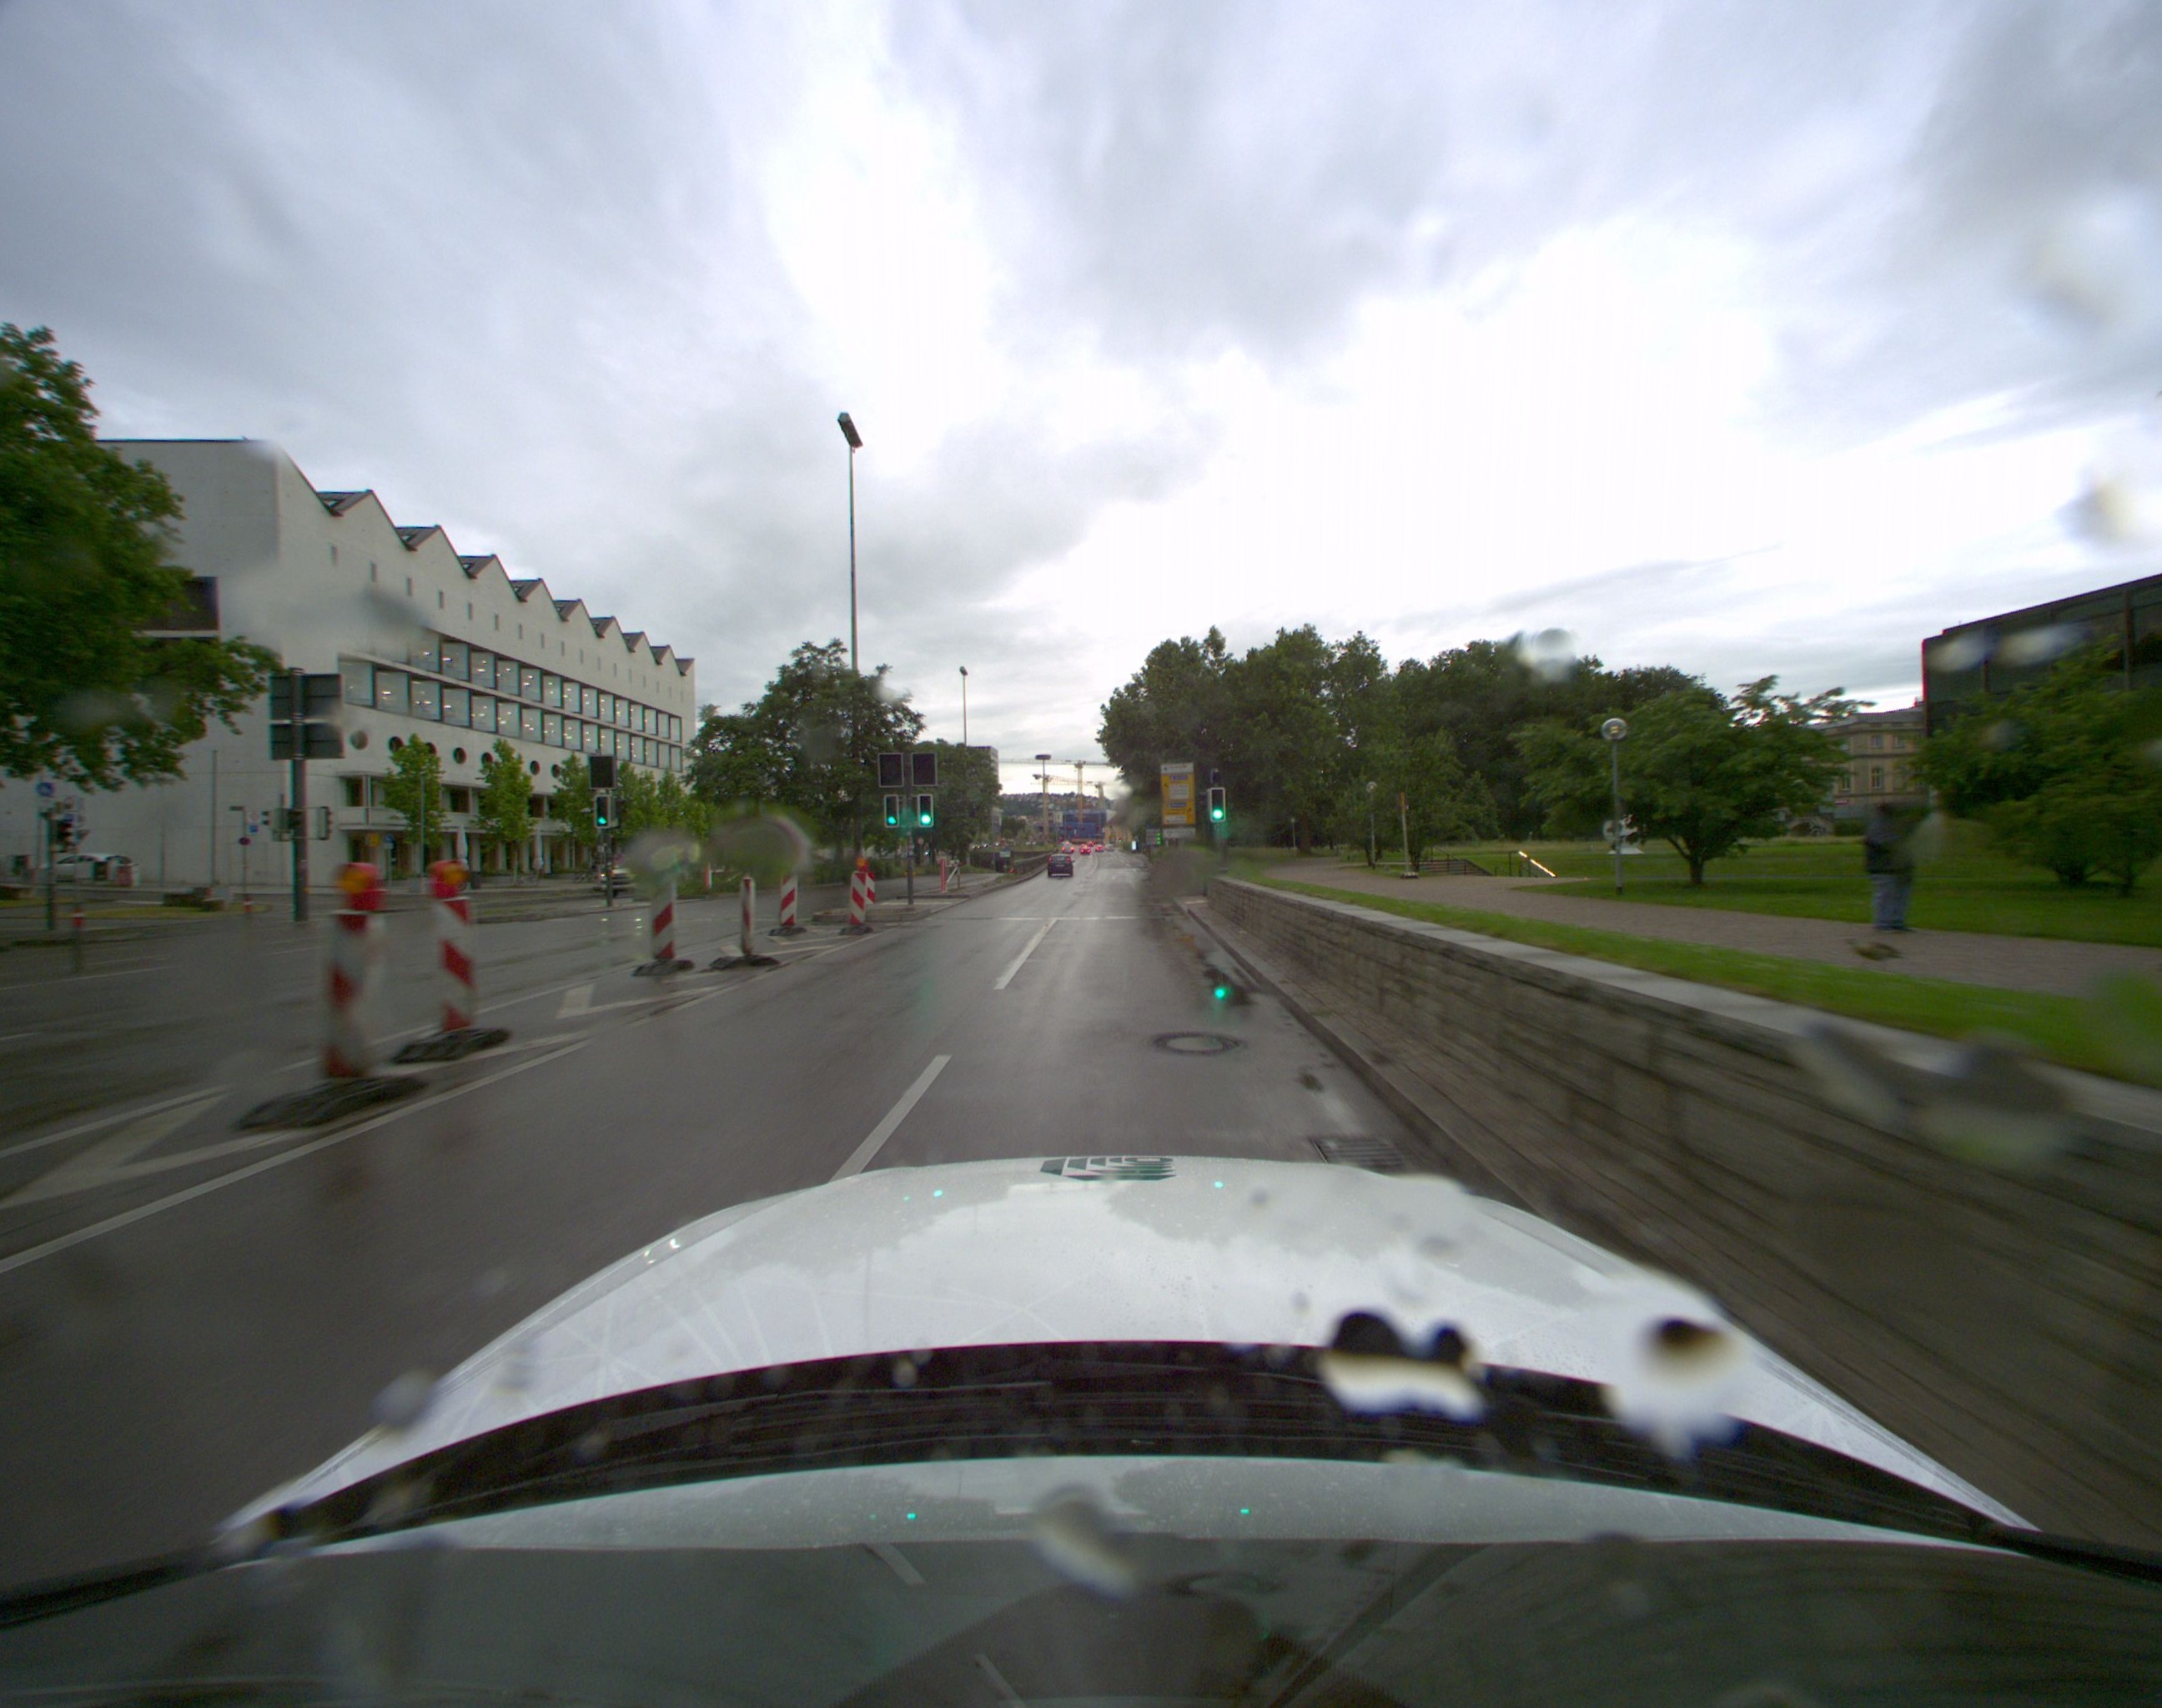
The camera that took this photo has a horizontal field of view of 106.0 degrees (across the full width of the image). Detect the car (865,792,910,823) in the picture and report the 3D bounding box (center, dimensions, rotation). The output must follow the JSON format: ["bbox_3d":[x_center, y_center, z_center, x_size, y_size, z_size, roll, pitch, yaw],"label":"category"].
[{"bbox_3d":[-11.574,-2.755,48.964,1.990,1.632,3.993,-1,0,-5],"label":"car"}]

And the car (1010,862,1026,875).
[{"bbox_3d":[-10.056,2.306,130.111,1.986,1.781,4.001,-2,0,1],"label":"car"}]

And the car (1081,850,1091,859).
[{"bbox_3d":[0.982,0.136,163.871,1.732,1.771,4.002,-3,-1,2],"label":"car"}]

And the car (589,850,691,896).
[{"bbox_3d":[-19.694,0.843,36.658,1.988,1.840,4.888,-3,-1,-2],"label":"car"}]

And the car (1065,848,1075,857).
[{"bbox_3d":[-2.638,-0.339,191.303,1.985,1.782,4.003,-3,-1,3],"label":"car"}]

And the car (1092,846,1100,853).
[{"bbox_3d":[3.676,-1.083,197.922,1.706,1.690,3.851,-3,-1,3],"label":"car"}]

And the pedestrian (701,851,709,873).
[{"bbox_3d":[-35.406,0.770,76.686,0.543,2.014,0.525,-2,-1,-35],"label":"pedestrian"}]

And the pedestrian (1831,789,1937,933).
[{"bbox_3d":[10.280,0.080,10.446,0.593,1.755,0.725,-3,1,-3],"label":"pedestrian"}]

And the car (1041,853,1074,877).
[{"bbox_3d":[-1.574,0.716,53.589,1.842,1.416,3.830,-3,-1,-6],"label":"car"}]

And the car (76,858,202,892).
[{"bbox_3d":[-48.166,1.071,41.717,3.978,1.596,1.998,-1,0,-3],"label":"car"}]

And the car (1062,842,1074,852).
[{"bbox_3d":[-2.820,-1.449,174.098,2.211,2.014,4.003,-3,-1,3],"label":"car"}]

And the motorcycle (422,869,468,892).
[{"bbox_3d":[-33.848,1.402,43.375,1.844,1.154,0.423,-2,0,-28],"label":"motorcycle"}]

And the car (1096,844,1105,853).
[{"bbox_3d":[4.647,-1.334,192.352,1.980,2.014,4.001,-3,-1,1],"label":"car"}]

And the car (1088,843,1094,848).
[{"bbox_3d":[3.329,-2.753,259.752,1.714,1.557,3.586,-1,0,3],"label":"car"}]

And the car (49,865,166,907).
[{"bbox_3d":[-51.936,1.679,43.484,3.968,2.014,2.002,-3,-1,4],"label":"car"}]

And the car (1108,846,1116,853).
[{"bbox_3d":[7.748,-1.073,202.088,1.985,1.599,4.003,-3,-1,3],"label":"car"}]
